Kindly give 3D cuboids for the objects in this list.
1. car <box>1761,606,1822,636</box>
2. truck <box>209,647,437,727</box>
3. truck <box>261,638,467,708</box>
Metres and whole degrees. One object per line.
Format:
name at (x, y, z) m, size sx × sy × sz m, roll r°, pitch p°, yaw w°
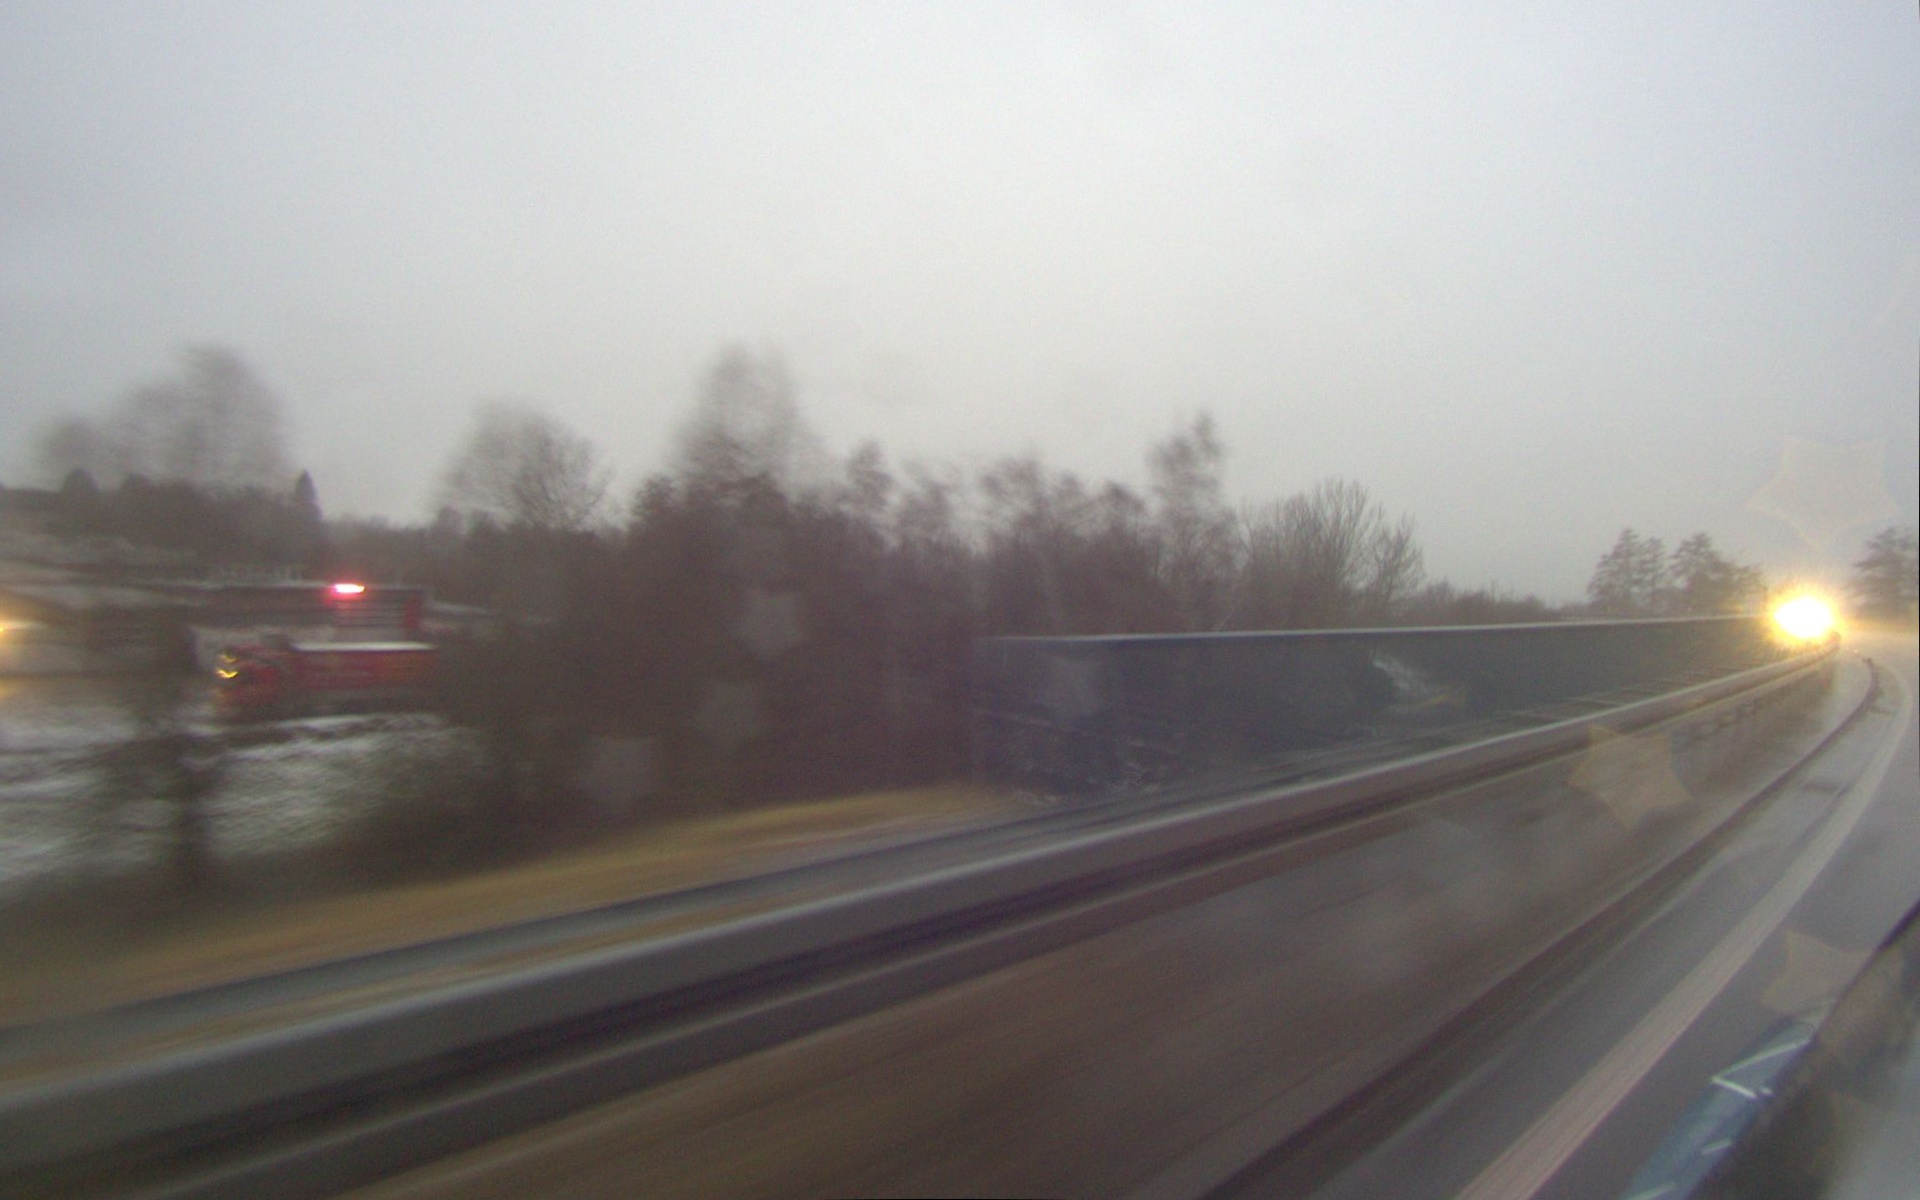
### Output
car at (50.004, 1.201, 60.936) m, size 2.088 × 1.594 × 4.746 m, roll 4°, pitch 2°, yaw 31°
truck at (-33.698, 4.461, 54.104) m, size 2.780 × 3.274 × 10.012 m, roll 0°, pitch 1°, yaw 38°
truck at (-34.361, 4.079, 58.867) m, size 2.780 × 3.274 × 10.012 m, roll 0°, pitch 1°, yaw 38°
